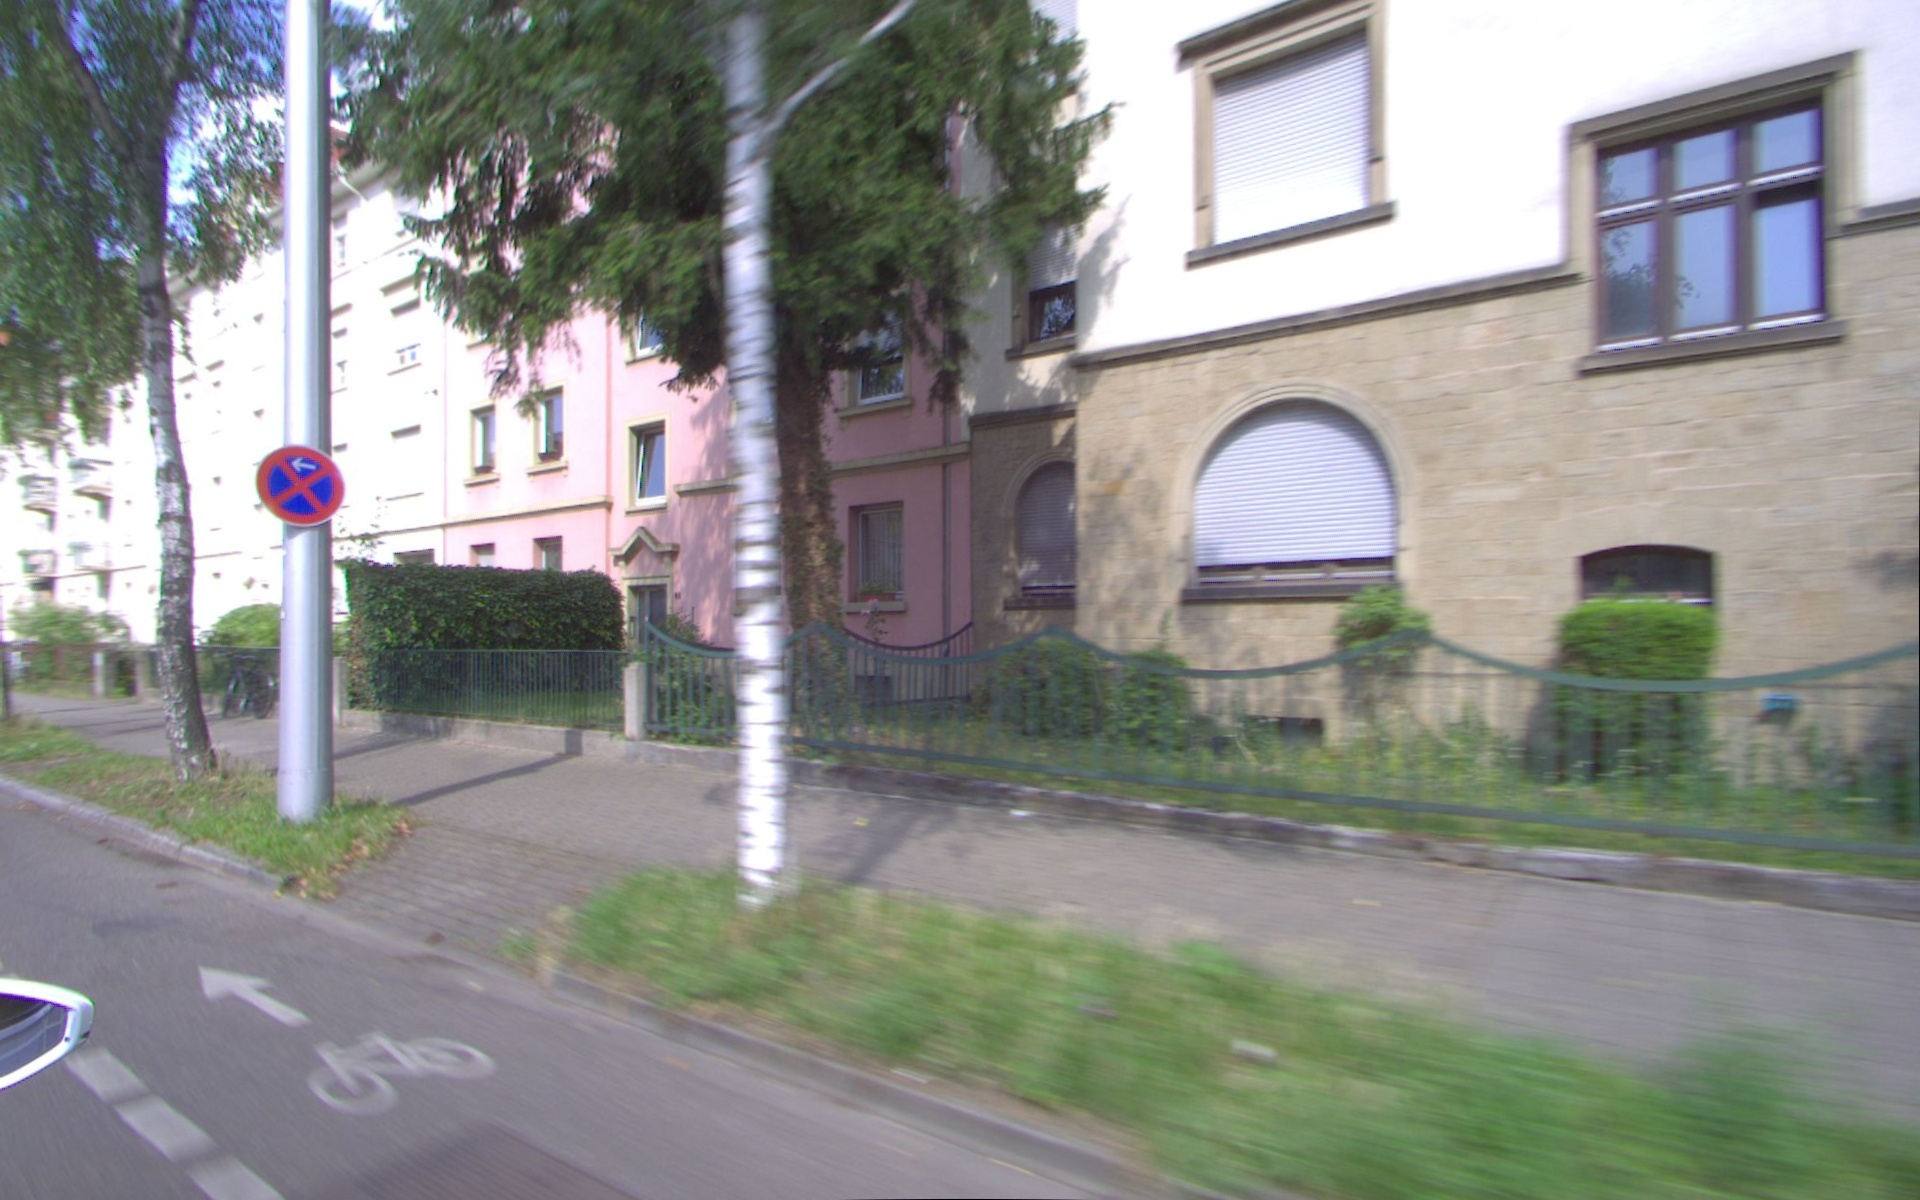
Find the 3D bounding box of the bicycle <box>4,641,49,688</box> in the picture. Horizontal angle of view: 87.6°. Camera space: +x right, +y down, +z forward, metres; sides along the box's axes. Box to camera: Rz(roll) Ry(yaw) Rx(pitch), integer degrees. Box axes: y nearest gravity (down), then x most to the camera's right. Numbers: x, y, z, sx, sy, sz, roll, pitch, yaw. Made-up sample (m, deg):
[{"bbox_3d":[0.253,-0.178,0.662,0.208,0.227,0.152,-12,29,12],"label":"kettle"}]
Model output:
[{"bbox_3d":[-22.868,1.565,24.523,2.155,1.091,0.470,-1,-1,38],"label":"bicycle"}]
